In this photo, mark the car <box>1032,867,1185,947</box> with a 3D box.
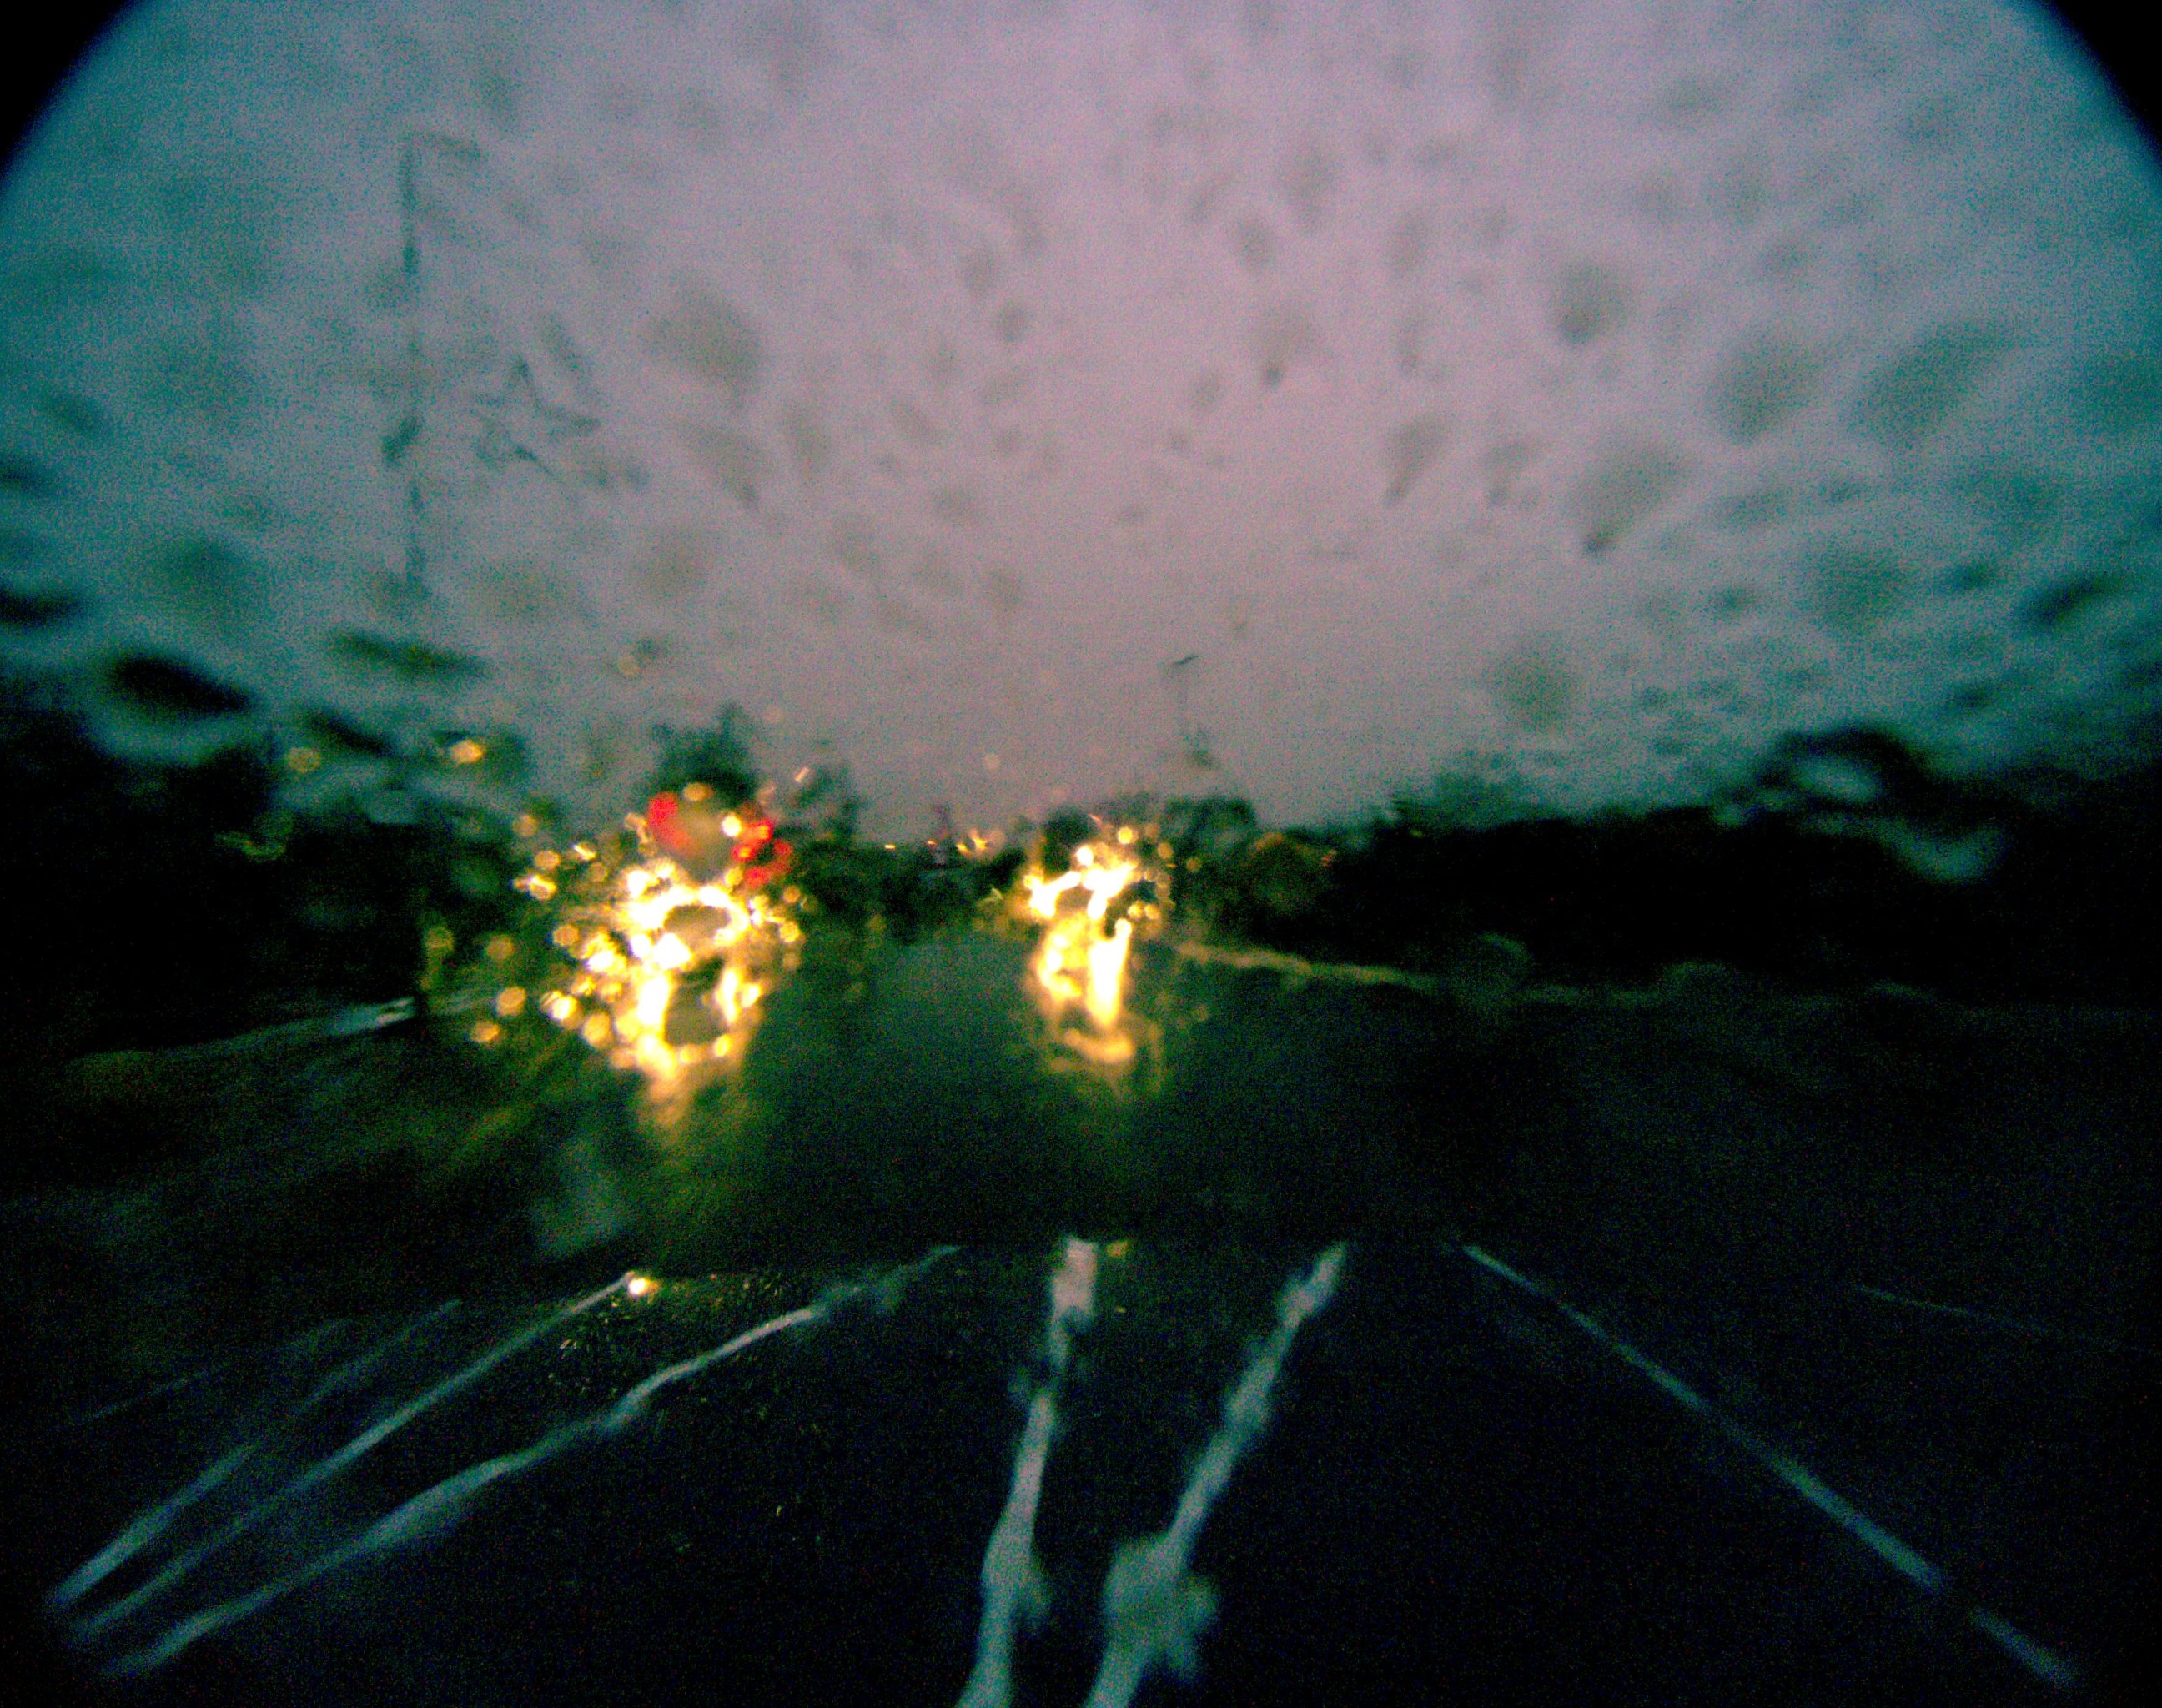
[{"bbox_3d":[0.786,1.162,18.015,1.806,1.452,4.253,-2,1,29],"label":"car"}]

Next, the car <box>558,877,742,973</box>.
[{"bbox_3d":[-8.135,1.280,14.237,3.701,1.483,1.666,-4,0,38],"label":"car"}]
